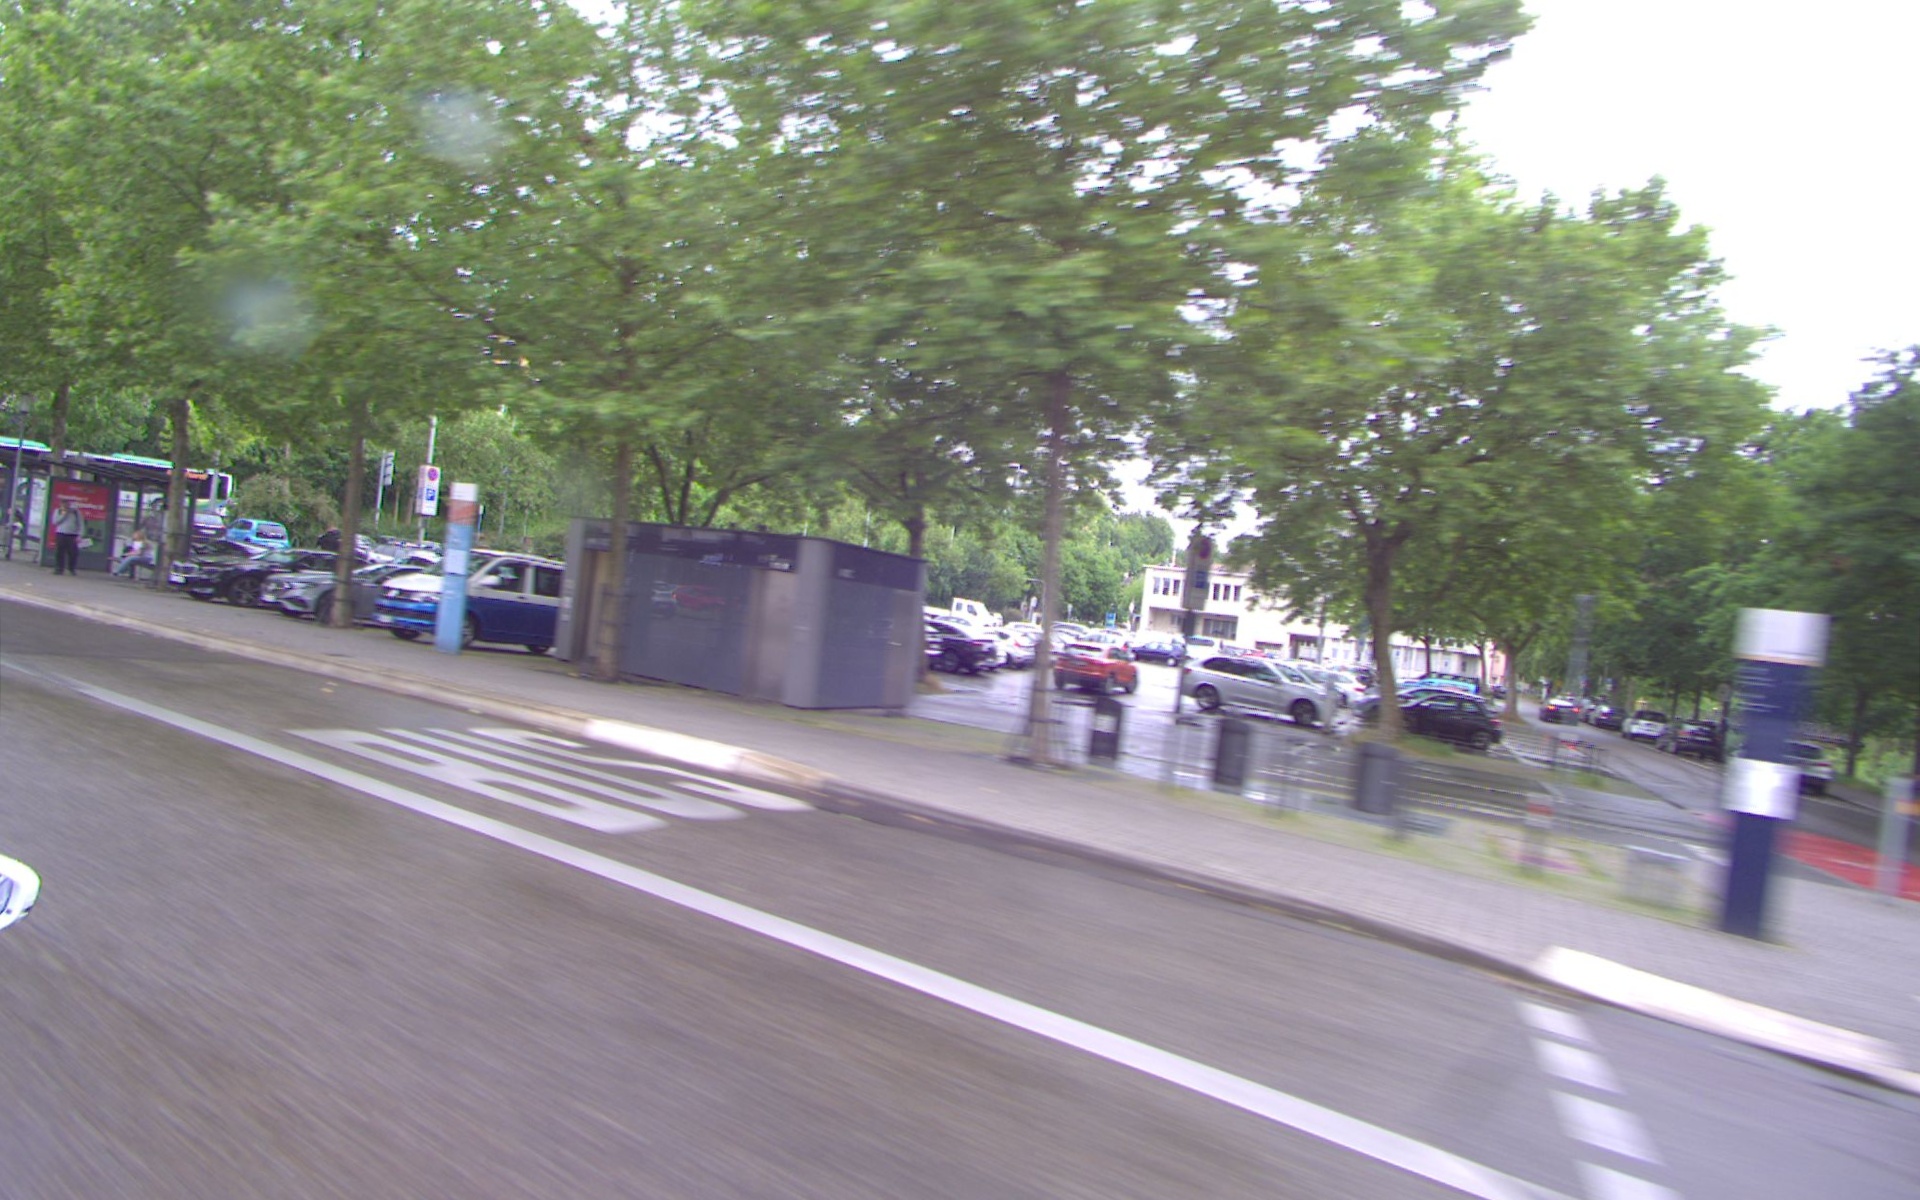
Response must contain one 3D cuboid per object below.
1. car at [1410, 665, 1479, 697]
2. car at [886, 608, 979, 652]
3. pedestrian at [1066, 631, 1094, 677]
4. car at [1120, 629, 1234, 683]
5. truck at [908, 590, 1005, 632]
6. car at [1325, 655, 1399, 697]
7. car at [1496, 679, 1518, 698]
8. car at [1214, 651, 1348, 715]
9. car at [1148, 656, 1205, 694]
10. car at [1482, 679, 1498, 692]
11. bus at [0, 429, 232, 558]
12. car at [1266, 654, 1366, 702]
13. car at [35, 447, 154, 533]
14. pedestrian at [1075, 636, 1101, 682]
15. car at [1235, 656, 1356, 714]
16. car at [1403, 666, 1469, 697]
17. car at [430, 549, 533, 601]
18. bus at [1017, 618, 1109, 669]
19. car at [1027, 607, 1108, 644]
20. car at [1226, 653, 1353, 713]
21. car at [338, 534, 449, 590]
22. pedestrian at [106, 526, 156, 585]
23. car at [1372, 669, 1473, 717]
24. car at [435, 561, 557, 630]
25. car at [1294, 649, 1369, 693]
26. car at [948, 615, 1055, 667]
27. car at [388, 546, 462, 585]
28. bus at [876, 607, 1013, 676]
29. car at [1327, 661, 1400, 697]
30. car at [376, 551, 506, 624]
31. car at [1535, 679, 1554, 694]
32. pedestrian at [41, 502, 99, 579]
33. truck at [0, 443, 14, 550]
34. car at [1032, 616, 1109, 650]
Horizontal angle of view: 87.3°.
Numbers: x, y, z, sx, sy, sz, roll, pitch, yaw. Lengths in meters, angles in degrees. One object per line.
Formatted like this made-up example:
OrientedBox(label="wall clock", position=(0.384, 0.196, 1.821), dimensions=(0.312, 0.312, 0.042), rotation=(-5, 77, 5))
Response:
OrientedBox(label="car", position=(36.980, 6.170, 76.921), dimensions=(4.513, 1.778, 1.936), rotation=(7, -1, 26))
OrientedBox(label="car", position=(-1.369, 1.486, 49.735), dimensions=(4.127, 1.568, 1.811), rotation=(7, -1, 26))
OrientedBox(label="pedestrian", position=(4.555, 2.050, 38.214), dimensions=(0.818, 1.659, 0.747), rotation=(6, -3, 1))
OrientedBox(label="car", position=(9.770, 2.530, 45.351), dimensions=(4.513, 1.778, 1.936), rotation=(7, -1, 26))
OrientedBox(label="truck", position=(-0.255, 0.808, 73.685), dimensions=(6.405, 2.265, 2.449), rotation=(7, -1, 23))
OrientedBox(label="car", position=(24.479, 4.618, 61.397), dimensions=(3.927, 2.038, 2.000), rotation=(7, 0, 22))
OrientedBox(label="car", position=(55.199, 8.929, 101.487), dimensions=(1.728, 1.564, 3.995), rotation=(7, -2, 31))
OrientedBox(label="car", position=(12.370, 3.188, 38.794), dimensions=(4.513, 1.778, 1.936), rotation=(7, -1, 26))
OrientedBox(label="car", position=(11.363, 3.909, 52.587), dimensions=(1.774, 1.641, 4.131), rotation=(7, -1, 26))
OrientedBox(label="car", position=(75.901, 12.286, 144.028), dimensions=(1.728, 1.564, 3.995), rotation=(7, -2, 31))
OrientedBox(label="bus", position=(-49.998, -6.130, 53.828), dimensions=(3.046, 5.272, 17.960), rotation=(7, -2, 29))
OrientedBox(label="car", position=(18.250, 3.989, 51.603), dimensions=(4.513, 1.778, 1.936), rotation=(7, -1, 26))
OrientedBox(label="car", position=(-35.615, -4.530, 41.390), dimensions=(4.153, 3.006, 2.078), rotation=(7, -1, 28))
OrientedBox(label="pedestrian", position=(5.002, 2.310, 39.293), dimensions=(0.818, 1.659, 0.748), rotation=(6, -3, 4))
OrientedBox(label="car", position=(14.253, 3.601, 42.753), dimensions=(4.513, 1.778, 1.936), rotation=(7, -1, 26))
OrientedBox(label="car", position=(37.631, 6.451, 79.652), dimensions=(4.513, 1.778, 1.936), rotation=(7, -1, 26))
OrientedBox(label="car", position=(-20.422, -1.058, 42.978), dimensions=(3.659, 1.755, 1.910), rotation=(5, -4, 24))
OrientedBox(label="bus", position=(5.058, 2.141, 49.377), dimensions=(3.929, 2.035, 2.001), rotation=(5, -4, 26))
OrientedBox(label="car", position=(6.681, 1.588, 62.410), dimensions=(4.509, 1.674, 1.886), rotation=(7, -1, 20))
OrientedBox(label="car", position=(13.367, 3.352, 40.848), dimensions=(4.513, 1.778, 1.936), rotation=(7, -1, 26))
OrientedBox(label="car", position=(-22.763, -1.518, 40.432), dimensions=(3.659, 1.755, 1.910), rotation=(5, -4, 24))
OrientedBox(label="pedestrian", position=(-20.909, -1.113, 25.376), dimensions=(0.714, 1.373, 0.622), rotation=(7, -1, 29))
OrientedBox(label="car", position=(23.758, 4.751, 51.770), dimensions=(4.513, 1.778, 1.936), rotation=(7, -1, 26))
OrientedBox(label="car", position=(-16.926, -0.176, 36.689), dimensions=(3.659, 2.035, 1.910), rotation=(5, -4, 24))
OrientedBox(label="car", position=(22.074, 4.224, 59.843), dimensions=(3.927, 2.038, 2.000), rotation=(7, 0, 22))
OrientedBox(label="car", position=(1.711, 1.680, 41.588), dimensions=(3.932, 1.682, 1.810), rotation=(4, -4, 28))
OrientedBox(label="car", position=(-28.281, -1.822, 53.186), dimensions=(3.545, 1.586, 1.635), rotation=(7, 0, 28))
OrientedBox(label="bus", position=(-0.526, 1.389, 33.553), dimensions=(3.931, 1.744, 1.998), rotation=(7, -1, 29))
OrientedBox(label="car", position=(26.917, 5.267, 67.222), dimensions=(4.301, 1.778, 1.937), rotation=(7, -1, 23))
OrientedBox(label="car", position=(-17.814, -0.439, 34.545), dimensions=(3.659, 2.035, 1.910), rotation=(5, -4, 24))
OrientedBox(label="car", position=(77.330, 11.468, 133.110), dimensions=(1.966, 1.564, 3.995), rotation=(7, -2, 31))
OrientedBox(label="pedestrian", position=(-21.564, -1.438, 24.382), dimensions=(0.612, 1.720, 0.726), rotation=(7, -1, 28))
OrientedBox(label="truck", position=(-11.185, -0.715, 9.443), dimensions=(4.638, 2.049, 2.125), rotation=(7, -1, 32))
OrientedBox(label="car", position=(7.265, 2.161, 65.961), dimensions=(4.509, 1.617, 2.001), rotation=(7, -1, 20))
